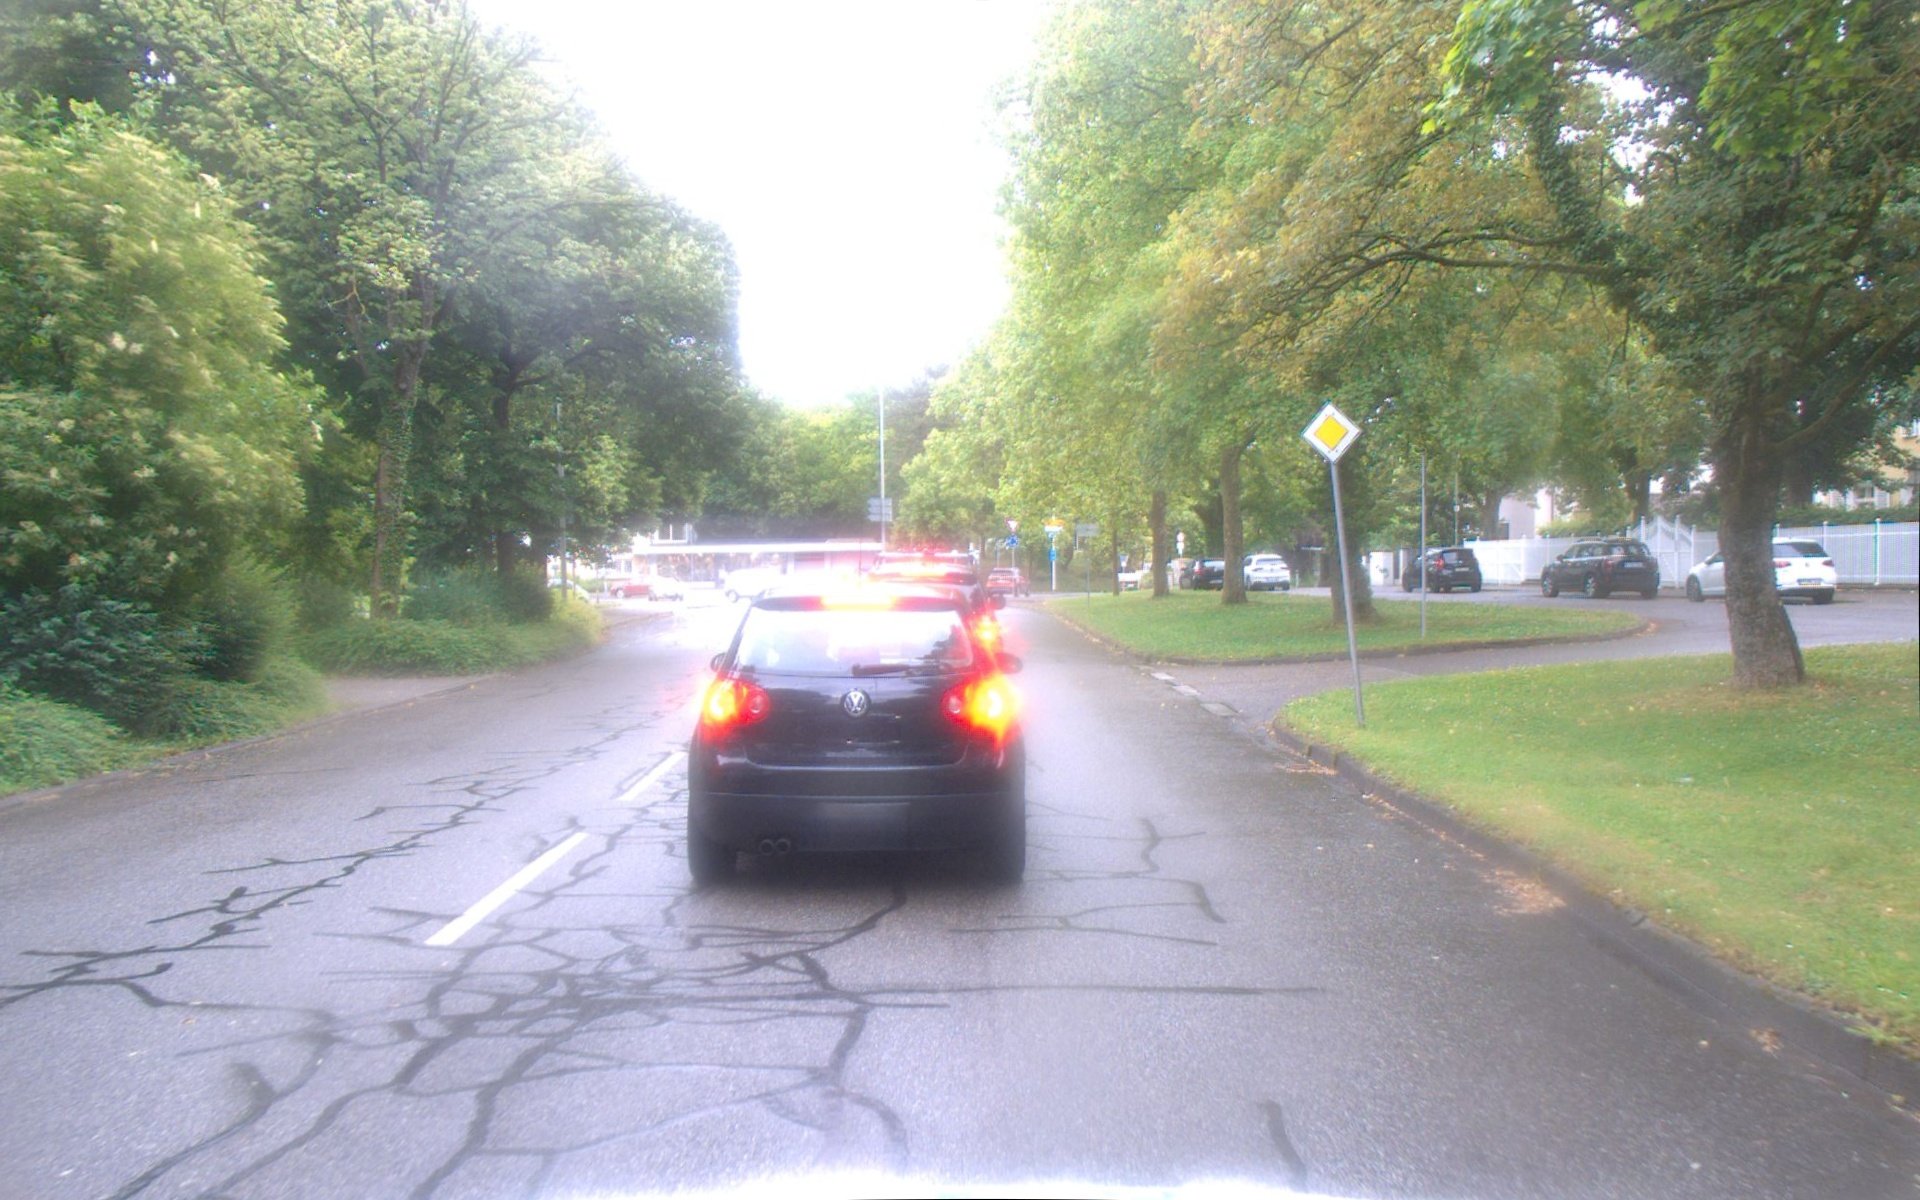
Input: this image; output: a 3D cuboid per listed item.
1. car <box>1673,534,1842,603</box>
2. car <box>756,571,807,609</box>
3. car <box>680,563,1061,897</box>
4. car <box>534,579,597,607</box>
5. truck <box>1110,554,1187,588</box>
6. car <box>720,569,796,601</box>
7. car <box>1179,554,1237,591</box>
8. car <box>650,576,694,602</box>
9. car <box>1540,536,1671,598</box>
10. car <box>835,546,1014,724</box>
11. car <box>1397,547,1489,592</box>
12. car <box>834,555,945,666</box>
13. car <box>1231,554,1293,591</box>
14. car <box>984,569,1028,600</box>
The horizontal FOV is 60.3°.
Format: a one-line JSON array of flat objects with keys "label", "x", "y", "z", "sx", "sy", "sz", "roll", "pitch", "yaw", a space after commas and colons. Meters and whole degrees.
[{"label": "car", "x": 18.198, "y": -0.740, "z": 37.940, "sx": 1.585, "sy": 1.434, "sz": 4.005, "roll": -3, "pitch": 2, "yaw": -6}, {"label": "car", "x": -7.386, "y": -0.439, "z": 68.331, "sx": 1.580, "sy": 1.452, "sz": 3.995, "roll": -2, "pitch": 2, "yaw": -13}, {"label": "car", "x": -0.428, "y": 0.585, "z": 9.545, "sx": 1.762, "sy": 1.542, "sz": 3.753, "roll": 0, "pitch": 0, "yaw": -1}, {"label": "car", "x": -20.398, "y": -0.369, "z": 85.668, "sx": 3.065, "sy": 1.333, "sz": 1.535, "roll": -2, "pitch": 1, "yaw": -12}, {"label": "truck", "x": 11.821, "y": -1.819, "z": 103.324, "sx": 2.379, "sy": 2.039, "sz": 5.126, "roll": -1, "pitch": 1, "yaw": 39}, {"label": "car", "x": -10.749, "y": -0.786, "z": 87.845, "sx": 3.722, "sy": 1.646, "sz": 1.774, "roll": 0, "pitch": 1, "yaw": 31}, {"label": "car", "x": 10.466, "y": -1.183, "z": 70.051, "sx": 1.767, "sy": 1.409, "sz": 4.000, "roll": -3, "pitch": 1, "yaw": -1}, {"label": "car", "x": -17.328, "y": -0.658, "z": 99.422, "sx": 1.772, "sy": 1.417, "sz": 3.953, "roll": -4, "pitch": 1, "yaw": -21}, {"label": "car", "x": 17.617, "y": -0.926, "z": 45.335, "sx": 1.766, "sy": 1.556, "sz": 4.110, "roll": -2, "pitch": 2, "yaw": -3}, {"label": "car", "x": -0.385, "y": 0.332, "z": 19.232, "sx": 1.818, "sy": 1.815, "sz": 4.000, "roll": -1, "pitch": 1, "yaw": -1}, {"label": "car", "x": 16.717, "y": -1.088, "z": 57.401, "sx": 1.766, "sy": 1.436, "sz": 4.110, "roll": -2, "pitch": 2, "yaw": -3}, {"label": "car", "x": -1.205, "y": 0.164, "z": 29.749, "sx": 1.818, "sy": 1.816, "sz": 4.000, "roll": -1, "pitch": 0, "yaw": -1}, {"label": "car", "x": 12.784, "y": -1.189, "z": 70.259, "sx": 1.767, "sy": 1.430, "sz": 4.000, "roll": -3, "pitch": 1, "yaw": -1}, {"label": "car", "x": 2.480, "y": -0.845, "z": 88.743, "sx": 1.670, "sy": 1.539, "sz": 3.677, "roll": -2, "pitch": 1, "yaw": 13}]
